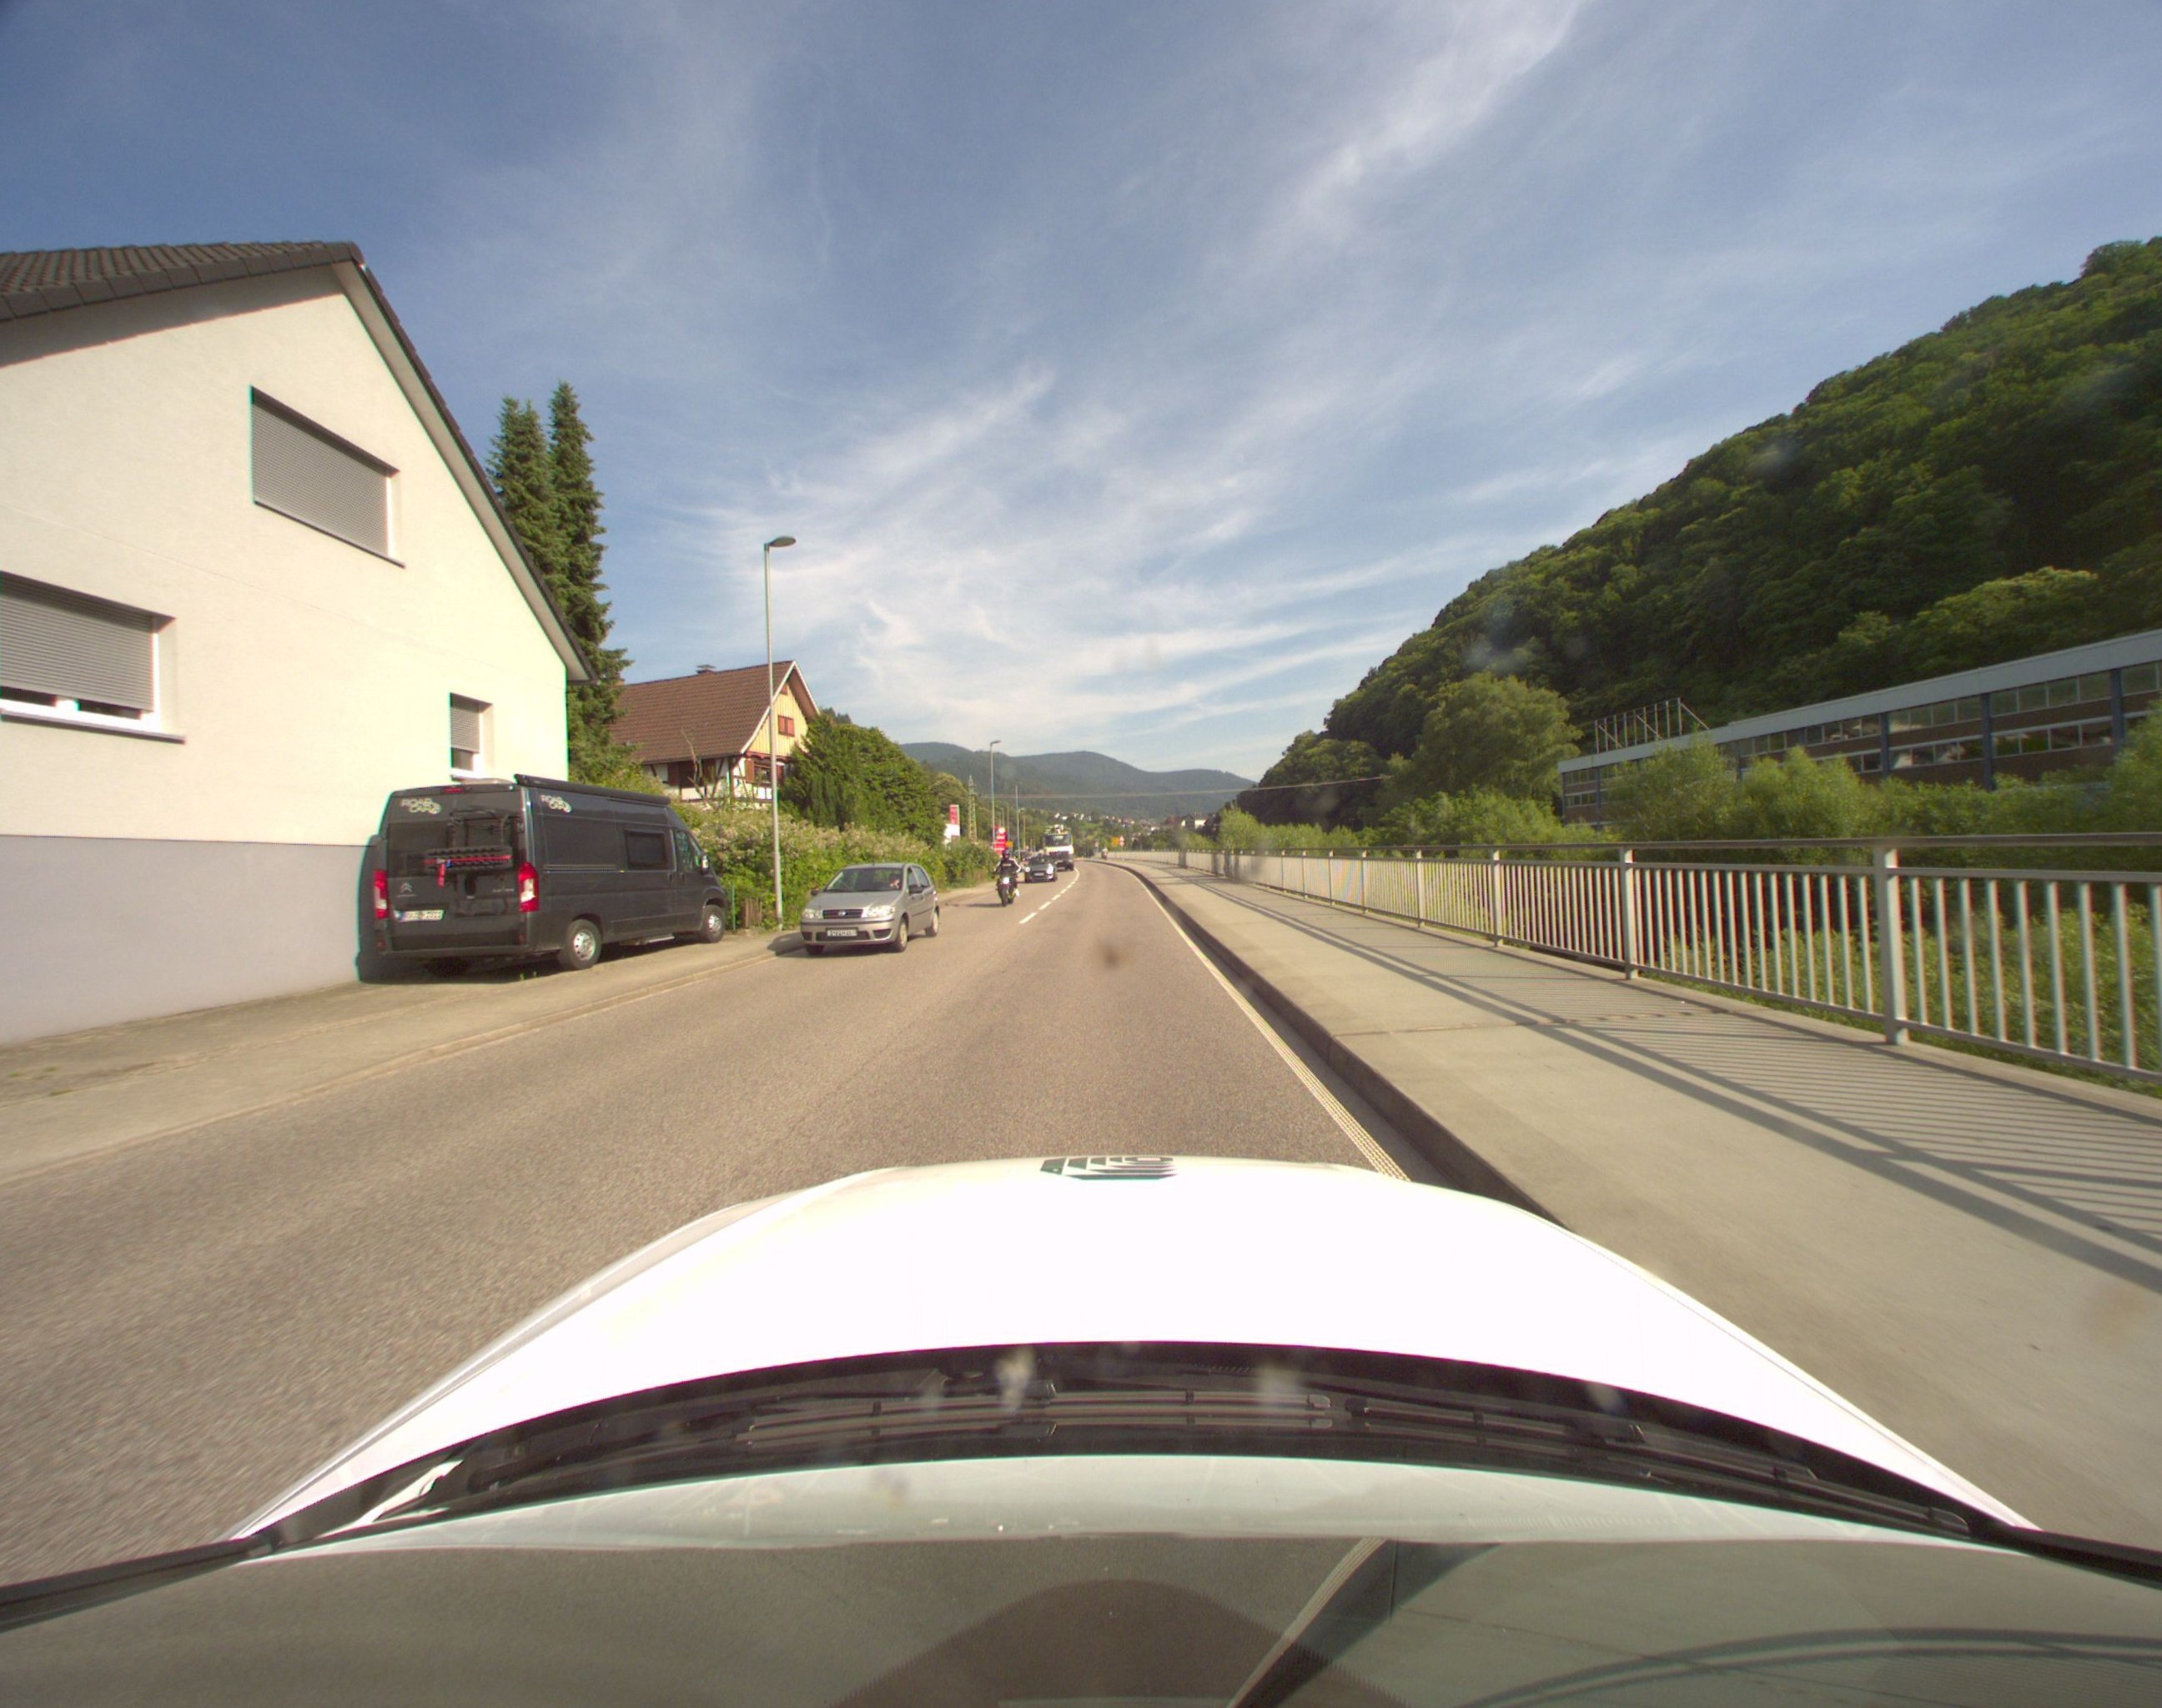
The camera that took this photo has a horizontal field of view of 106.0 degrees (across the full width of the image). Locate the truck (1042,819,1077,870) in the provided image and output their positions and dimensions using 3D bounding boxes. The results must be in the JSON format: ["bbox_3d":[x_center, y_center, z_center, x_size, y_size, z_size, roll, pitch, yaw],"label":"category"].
[{"bbox_3d":[-1.981,-0.752,71.016,2.572,3.931,11.292,-3,0,-3],"label":"truck"}]

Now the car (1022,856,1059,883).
[{"bbox_3d":[-2.210,0.834,45.701,1.707,1.403,4.002,-2,0,2],"label":"car"}]

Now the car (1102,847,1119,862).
[{"bbox_3d":[3.559,0.078,99.765,1.744,1.503,4.190,-10,0,0],"label":"car"}]

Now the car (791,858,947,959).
[{"bbox_3d":[-3.608,0.862,14.603,1.624,1.485,4.001,-2,0,1],"label":"car"}]

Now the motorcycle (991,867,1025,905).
[{"bbox_3d":[-2.259,0.983,25.383,0.651,1.068,2.184,-2,0,4],"label":"motorcycle"}]

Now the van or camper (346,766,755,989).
[{"bbox_3d":[-7.448,0.278,12.548,2.139,2.555,5.906,-2,0,3],"label":"van or camper"}]

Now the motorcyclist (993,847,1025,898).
[{"bbox_3d":[-2.241,0.579,25.439,0.821,1.558,0.629,-2,-1,5],"label":"motorcyclist"}]
